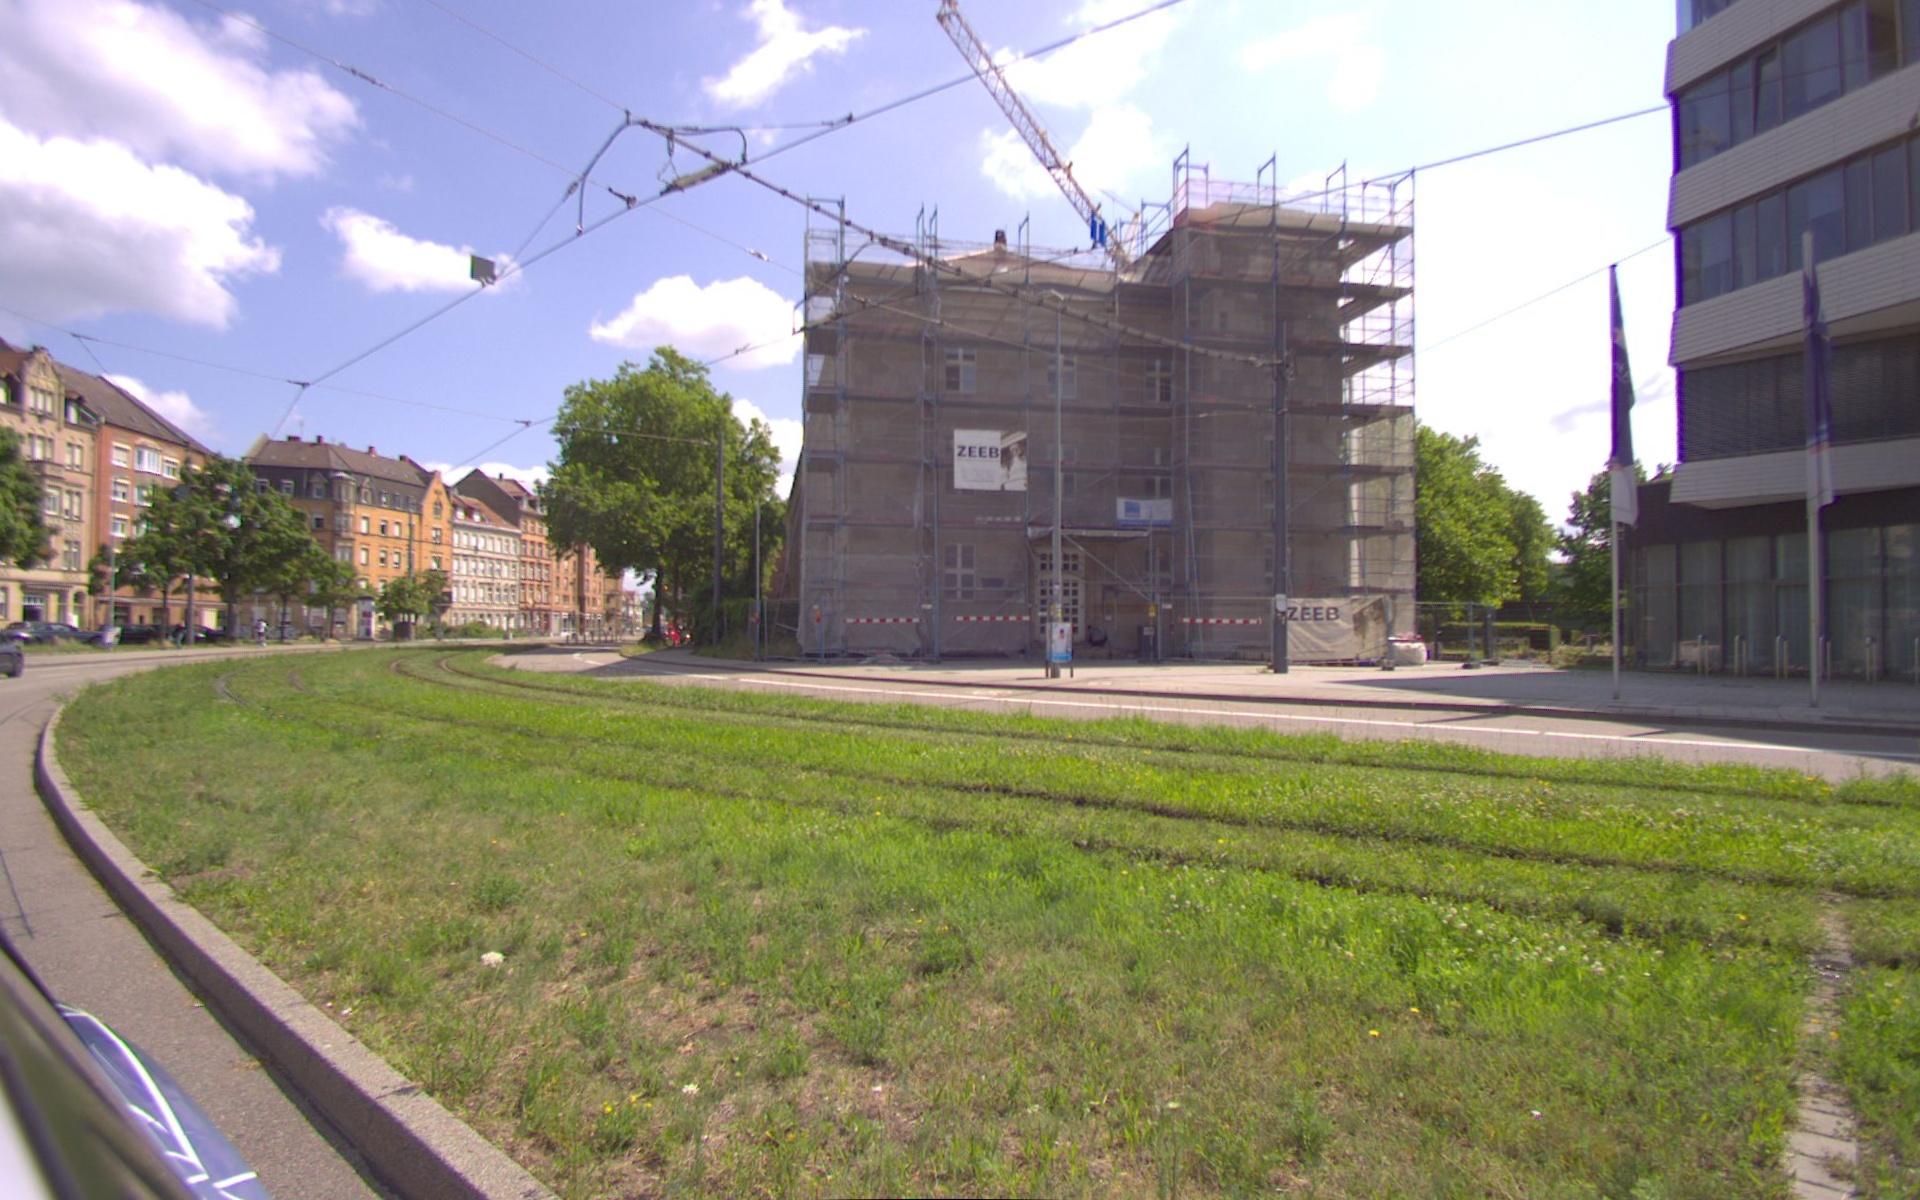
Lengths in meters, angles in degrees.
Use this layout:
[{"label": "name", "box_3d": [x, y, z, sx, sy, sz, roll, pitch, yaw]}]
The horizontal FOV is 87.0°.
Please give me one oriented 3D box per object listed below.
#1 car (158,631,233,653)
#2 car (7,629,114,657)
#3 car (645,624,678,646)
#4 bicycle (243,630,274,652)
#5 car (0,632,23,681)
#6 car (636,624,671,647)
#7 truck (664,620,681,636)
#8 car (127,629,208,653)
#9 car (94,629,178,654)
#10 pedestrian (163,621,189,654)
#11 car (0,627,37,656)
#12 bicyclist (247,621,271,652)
[{"label": "car", "box_3d": [-51.504, 2.809, 68.305, 3.933, 1.364, 1.967, 0, -2, -34]}, {"label": "car", "box_3d": [-48.693, 2.291, 54.841, 1.852, 1.391, 4.209, -2, -2, 42]}, {"label": "car", "box_3d": [-20.935, 2.473, 71.086, 1.901, 1.431, 4.059, -1, -2, -12]}, {"label": "bicycle", "box_3d": [-42.702, 2.509, 61.637, 0.685, 1.251, 1.843, 5, -4, -9]}, {"label": "car", "box_3d": [-28.425, 1.635, 28.512, 1.883, 1.404, 4.327, 0, -1, -27]}, {"label": "car", "box_3d": [-19.706, 2.274, 65.240, 1.900, 1.379, 4.328, -1, -2, -14]}, {"label": "truck", "box_3d": [-58.846, 5.651, 207.305, 2.604, 3.130, 7.239, 2, -2, -12]}, {"label": "car", "box_3d": [-50.816, 2.620, 64.930, 3.941, 1.391, 1.963, 0, -2, -44]}, {"label": "car", "box_3d": [-50.402, 2.520, 61.972, 3.936, 1.391, 1.965, 0, -2, -40]}, {"label": "pedestrian", "box_3d": [-42.409, 2.018, 54.739, 0.691, 1.717, 1.047, 1, 0, -13]}, {"label": "car", "box_3d": [-47.304, 2.010, 48.611, 1.852, 1.391, 4.209, -2, -2, 42]}, {"label": "bicyclist", "box_3d": [-42.680, 2.212, 61.657, 0.685, 1.838, 0.958, 5, -4, -9]}]
